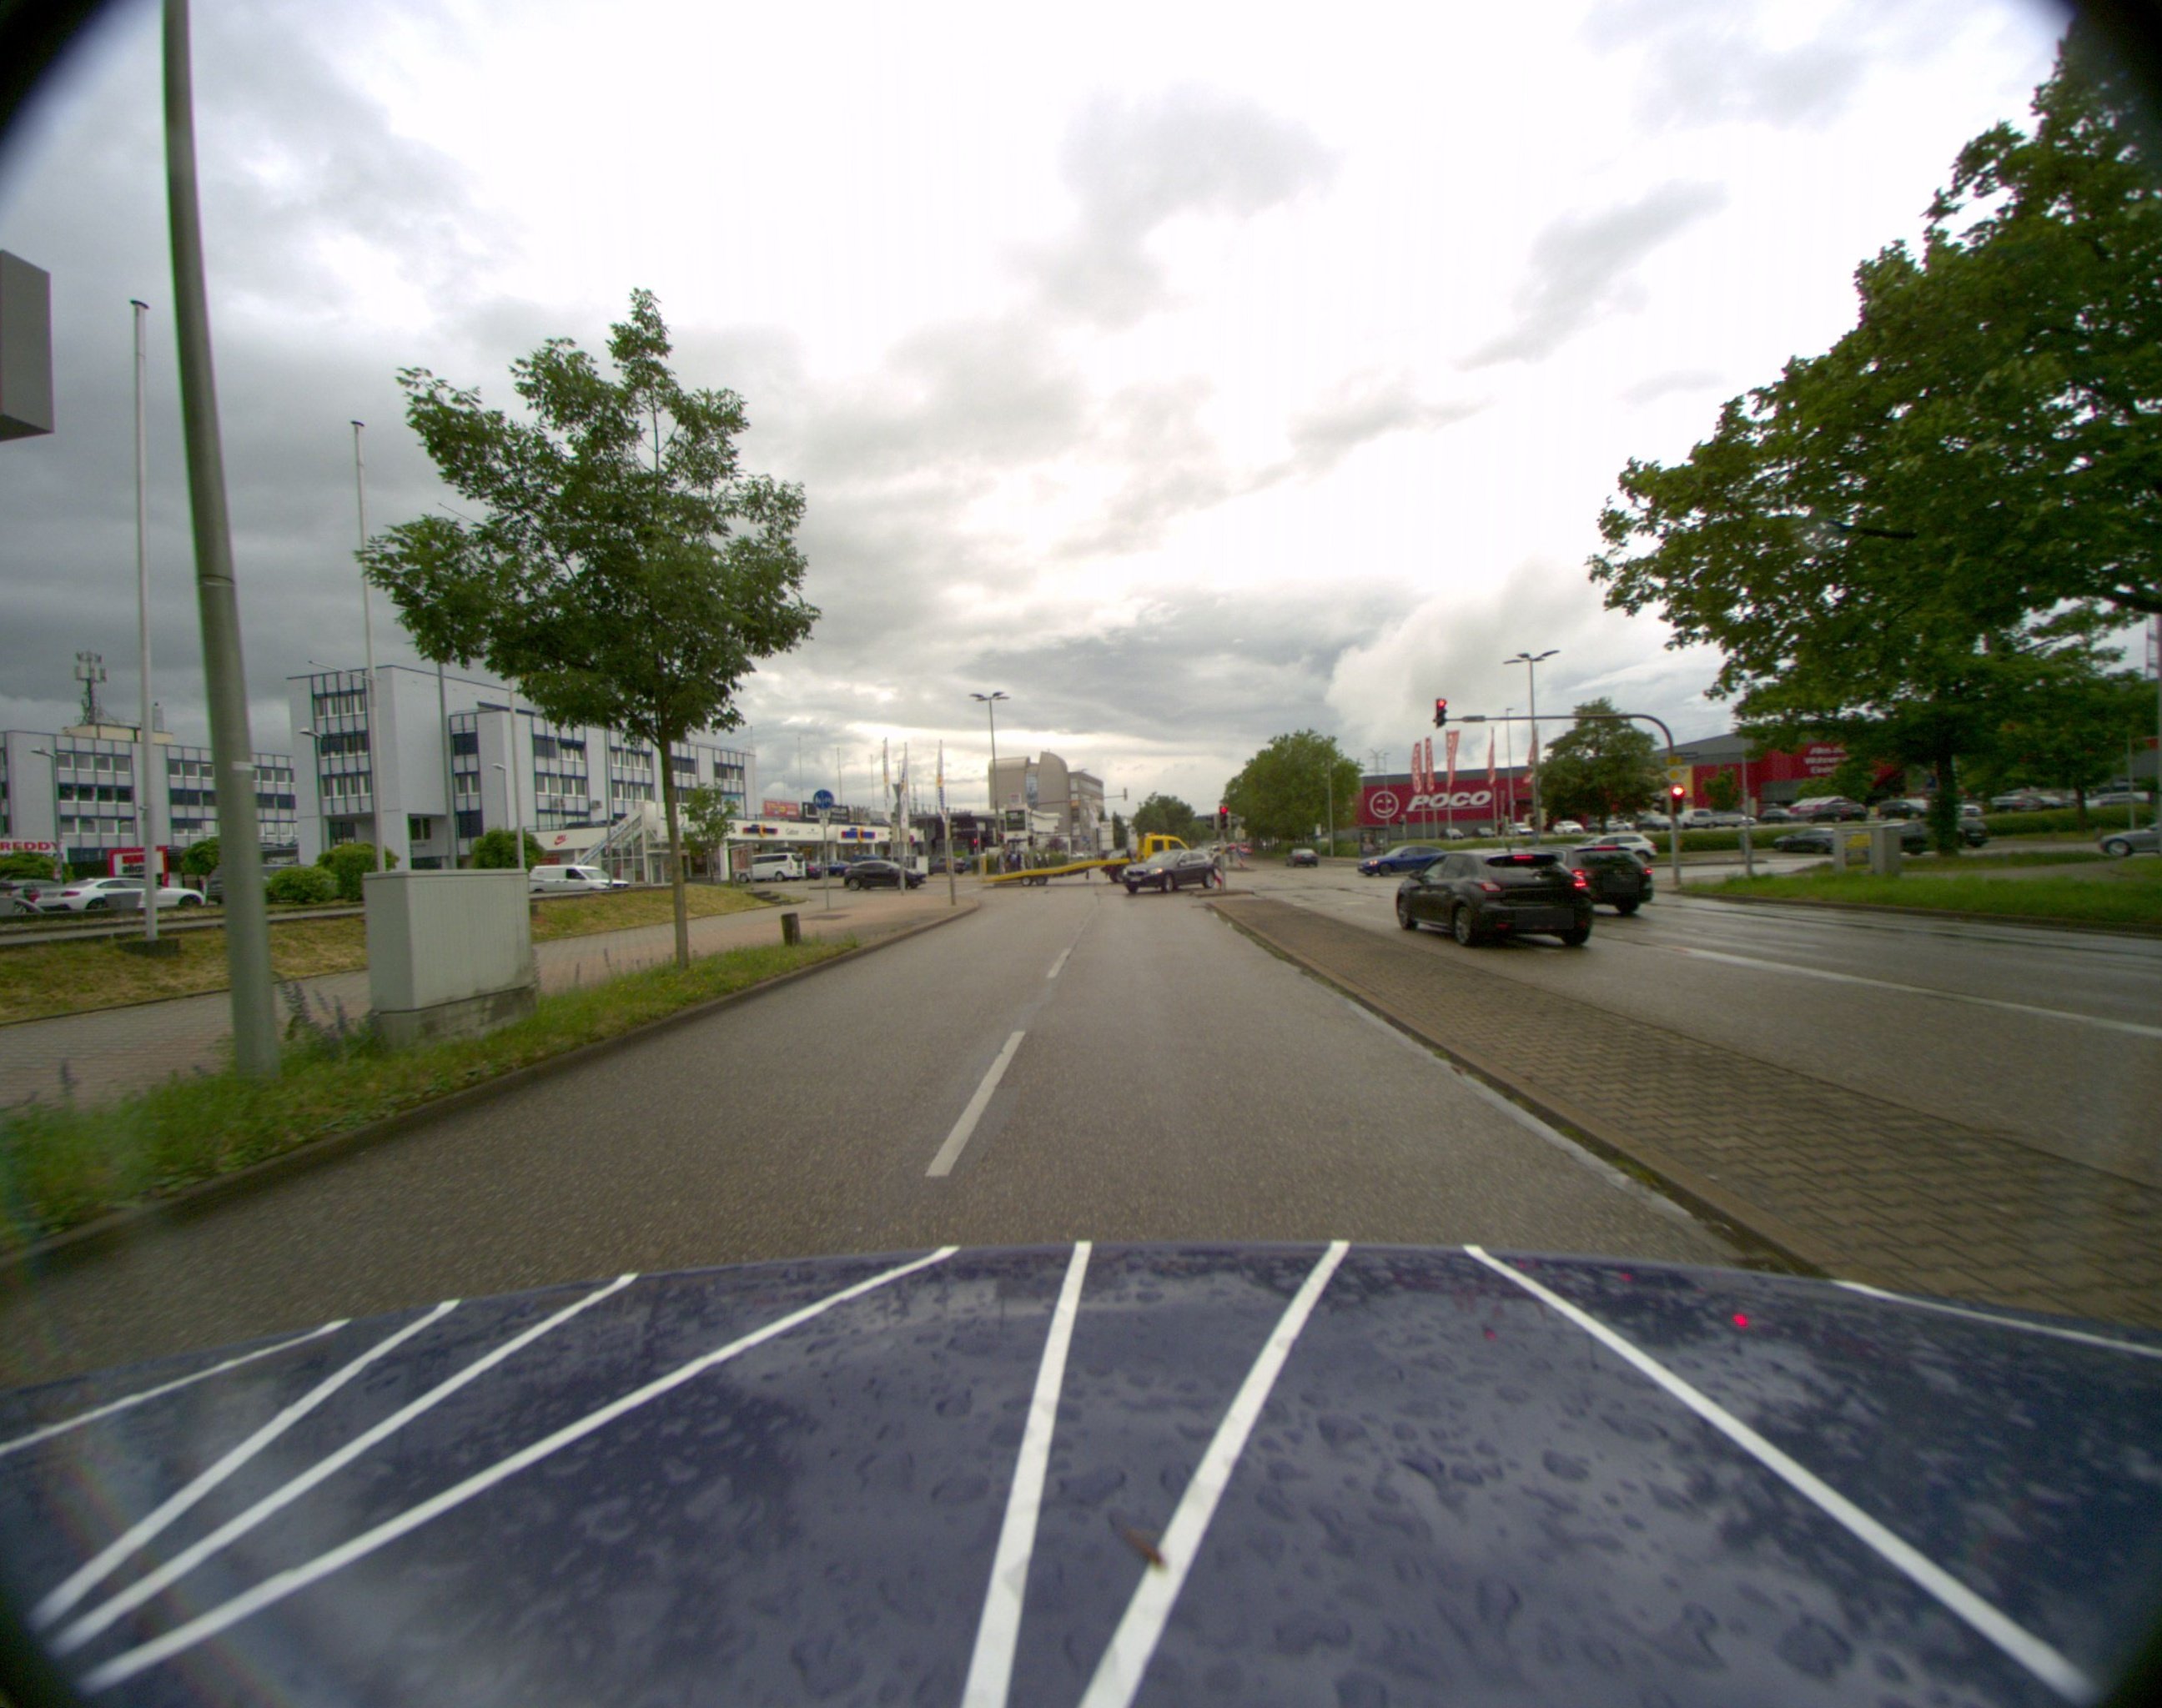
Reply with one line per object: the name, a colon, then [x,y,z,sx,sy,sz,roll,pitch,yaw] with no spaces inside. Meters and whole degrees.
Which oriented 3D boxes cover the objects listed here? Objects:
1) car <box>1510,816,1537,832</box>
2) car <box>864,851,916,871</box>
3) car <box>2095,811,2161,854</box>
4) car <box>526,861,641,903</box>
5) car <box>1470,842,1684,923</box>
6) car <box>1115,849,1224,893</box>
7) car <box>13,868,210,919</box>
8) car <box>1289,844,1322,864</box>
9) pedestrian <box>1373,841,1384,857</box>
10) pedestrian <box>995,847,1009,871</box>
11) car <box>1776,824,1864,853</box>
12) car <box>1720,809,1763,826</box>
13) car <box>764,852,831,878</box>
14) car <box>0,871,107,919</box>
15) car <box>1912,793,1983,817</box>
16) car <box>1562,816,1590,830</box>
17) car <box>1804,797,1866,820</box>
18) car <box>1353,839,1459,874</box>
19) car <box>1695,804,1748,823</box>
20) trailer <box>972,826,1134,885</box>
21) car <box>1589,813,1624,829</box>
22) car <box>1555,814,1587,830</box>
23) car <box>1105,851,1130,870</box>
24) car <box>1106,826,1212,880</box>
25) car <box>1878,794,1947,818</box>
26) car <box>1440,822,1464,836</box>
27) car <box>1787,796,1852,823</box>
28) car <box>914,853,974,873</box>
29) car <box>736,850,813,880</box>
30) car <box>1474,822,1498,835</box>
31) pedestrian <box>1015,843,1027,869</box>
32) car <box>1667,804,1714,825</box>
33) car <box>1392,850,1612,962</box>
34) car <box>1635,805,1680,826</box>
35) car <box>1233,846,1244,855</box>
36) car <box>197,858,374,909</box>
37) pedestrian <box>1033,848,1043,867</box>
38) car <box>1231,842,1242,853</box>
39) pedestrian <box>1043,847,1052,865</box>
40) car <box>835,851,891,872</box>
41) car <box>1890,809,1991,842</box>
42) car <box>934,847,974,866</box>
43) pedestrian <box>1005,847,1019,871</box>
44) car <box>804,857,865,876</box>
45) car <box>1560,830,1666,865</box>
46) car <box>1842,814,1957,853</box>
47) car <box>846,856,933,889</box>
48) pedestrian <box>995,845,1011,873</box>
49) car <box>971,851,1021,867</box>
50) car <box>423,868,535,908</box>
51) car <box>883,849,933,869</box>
car: [57.896,-3.941,99.509,1.789,1.914,3.752,-2,0,9]
car: [-18.157,0.629,72.340,4.367,1.754,1.899,-2,1,12]
car: [39.721,-0.812,26.604,1.998,1.540,4.903,-2,0,3]
car: [-22.747,1.264,34.792,4.243,1.772,1.800,-2,-2,9]
car: [10.743,0.530,16.994,1.998,1.499,4.732,-2,0,5]
car: [3.601,0.625,30.251,1.896,1.544,4.601,-1,1,44]
car: [-38.404,1.505,30.324,1.890,1.730,4.504,-2,0,4]
car: [17.246,-0.015,58.621,1.786,1.396,4.002,-2,0,7]
pedestrian: [25.991,-0.439,66.373,0.780,1.423,0.641,-1,1,7]
pedestrian: [-5.882,0.389,56.524,0.817,1.765,0.695,-2,2,-30]
car: [42.896,-0.870,44.228,1.683,1.544,3.661,-2,0,3]
car: [69.287,-3.825,79.780,1.670,1.636,3.966,-2,0,11]
car: [-21.445,0.855,57.605,4.367,1.809,1.899,-2,1,12]
car: [-43.415,1.674,30.949,1.879,1.764,4.187,-1,0,6]
car: [67.830,-3.822,59.570,1.670,1.636,3.830,-2,0,11]
car: [63.544,-3.959,97.584,1.695,1.636,3.966,-2,0,11]
car: [60.219,-3.607,60.741,1.670,1.636,3.830,-2,0,11]
car: [16.380,0.114,38.447,4.549,1.623,1.801,-1,0,-2]
car: [53.599,-3.357,63.666,1.670,1.373,3.912,-2,0,11]
trailer: [-1.387,0.089,39.119,7.966,2.459,2.311,-3,0,-1]
car: [57.323,-3.583,83.010,1.670,1.636,3.966,-2,0,11]
car: [54.495,-3.519,84.541,1.670,1.636,3.966,-2,0,11]
car: [3.002,0.534,61.472,1.753,1.455,4.002,0,1,7]
car: [3.990,-0.055,39.320,5.013,2.459,2.246,-3,0,-5]
car: [65.074,-3.738,59.545,1.670,1.636,3.830,-2,0,11]
car: [46.976,-3.110,96.275,1.695,1.636,3.966,-2,0,11]
car: [73.208,-4.357,75.475,1.823,2.290,5.652,-2,0,11]
car: [-10.668,0.718,59.286,4.119,1.386,1.825,-2,1,16]
car: [-21.945,0.807,54.384,4.779,2.002,2.002,-2,0,14]
car: [53.153,-3.351,99.773,1.695,1.636,3.966,-2,0,11]
pedestrian: [-4.704,0.172,59.954,0.740,2.002,0.698,-1,0,11]
car: [54.251,-3.527,67.694,1.630,1.636,3.830,-2,0,11]
car: [6.506,0.701,12.275,1.646,1.499,3.895,-1,0,5]
car: [51.243,-3.436,67.666,1.670,1.636,3.830,-2,0,11]
car: [29.126,-0.645,140.510,1.841,1.579,4.003,-1,0,10]
car: [-30.850,1.079,29.706,1.890,1.730,4.504,-2,0,7]
pedestrian: [-3.921,0.357,69.367,0.700,1.701,0.698,-1,0,13]
car: [26.784,-1.088,131.101,1.841,1.579,4.004,-1,-2,10]
pedestrian: [-3.183,0.208,72.011,0.713,1.701,0.698,-1,0,13]
car: [-19.364,0.659,67.568,4.367,1.754,1.899,-2,1,12]
car: [48.419,-1.564,42.922,1.683,1.714,3.661,-2,0,3]
car: [-14.479,0.236,86.456,3.992,2.002,1.913,-2,1,16]
pedestrian: [-5.243,0.385,57.682,0.814,1.846,0.698,0,3,13]
car: [-20.149,1.011,62.122,4.367,1.386,1.825,-2,1,12]
car: [27.185,-0.306,38.933,3.995,1.544,1.903,-3,0,6]
car: [39.543,-0.988,36.765,3.534,1.687,1.602,-3,1,8]
car: [-9.970,0.958,39.790,3.995,1.532,1.814,-2,2,5]
pedestrian: [-5.602,0.376,54.563,0.817,2.002,0.695,-2,1,-30]
car: [-7.850,0.452,70.081,4.120,1.386,1.901,-2,0,12]
car: [-28.058,1.557,35.492,3.994,1.698,1.825,-2,1,9]
car: [-17.030,0.480,74.866,4.367,1.895,1.898,-2,1,12]
